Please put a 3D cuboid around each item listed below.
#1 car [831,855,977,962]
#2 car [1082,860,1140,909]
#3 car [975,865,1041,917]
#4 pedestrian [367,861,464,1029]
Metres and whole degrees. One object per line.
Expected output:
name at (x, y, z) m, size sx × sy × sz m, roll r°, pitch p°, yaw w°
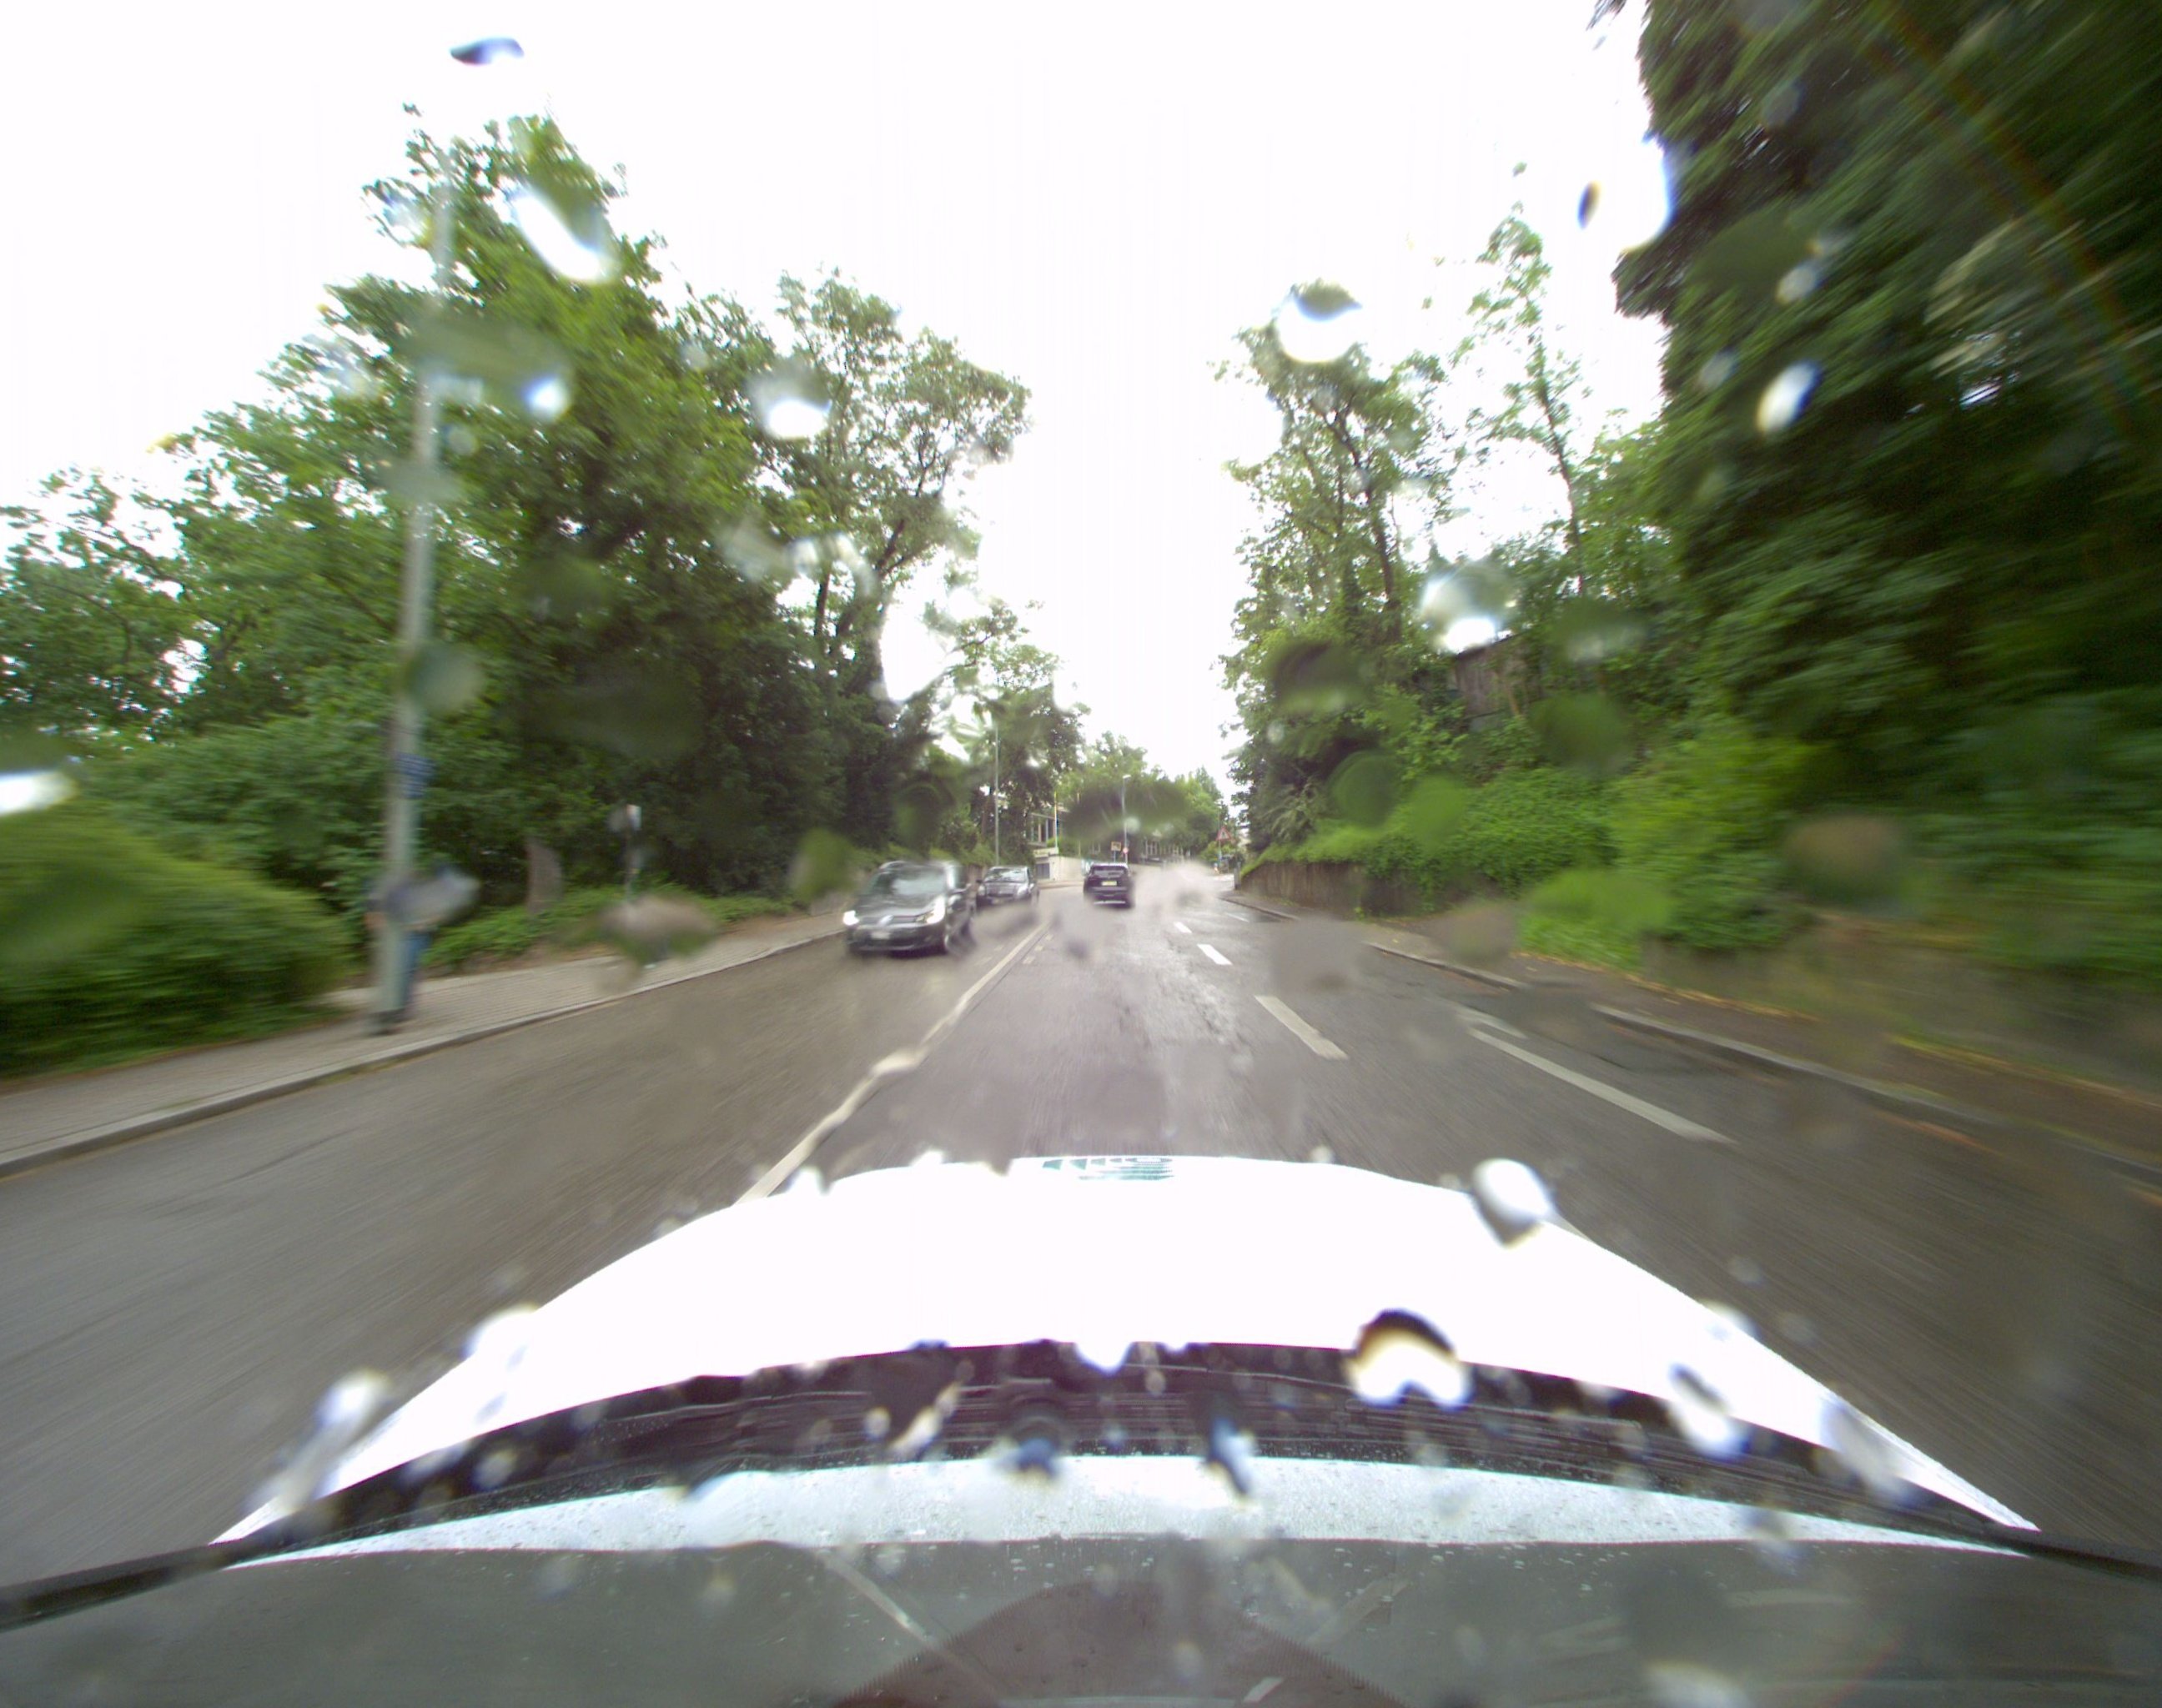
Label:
car at (-3.148, 0.914, 15.338) m, size 1.824 × 1.711 × 3.999 m, roll -1°, pitch -1°, yaw 0°
car at (1.094, 1.041, 29.756) m, size 1.921 × 1.613 × 4.001 m, roll -2°, pitch -1°, yaw 2°
car at (-2.276, 1.123, 26.086) m, size 1.669 × 1.496 × 3.461 m, roll -2°, pitch -1°, yaw 1°
pedestrian at (-6.946, 0.905, 8.536) m, size 0.711 × 1.644 × 0.706 m, roll -1°, pitch -1°, yaw -35°
